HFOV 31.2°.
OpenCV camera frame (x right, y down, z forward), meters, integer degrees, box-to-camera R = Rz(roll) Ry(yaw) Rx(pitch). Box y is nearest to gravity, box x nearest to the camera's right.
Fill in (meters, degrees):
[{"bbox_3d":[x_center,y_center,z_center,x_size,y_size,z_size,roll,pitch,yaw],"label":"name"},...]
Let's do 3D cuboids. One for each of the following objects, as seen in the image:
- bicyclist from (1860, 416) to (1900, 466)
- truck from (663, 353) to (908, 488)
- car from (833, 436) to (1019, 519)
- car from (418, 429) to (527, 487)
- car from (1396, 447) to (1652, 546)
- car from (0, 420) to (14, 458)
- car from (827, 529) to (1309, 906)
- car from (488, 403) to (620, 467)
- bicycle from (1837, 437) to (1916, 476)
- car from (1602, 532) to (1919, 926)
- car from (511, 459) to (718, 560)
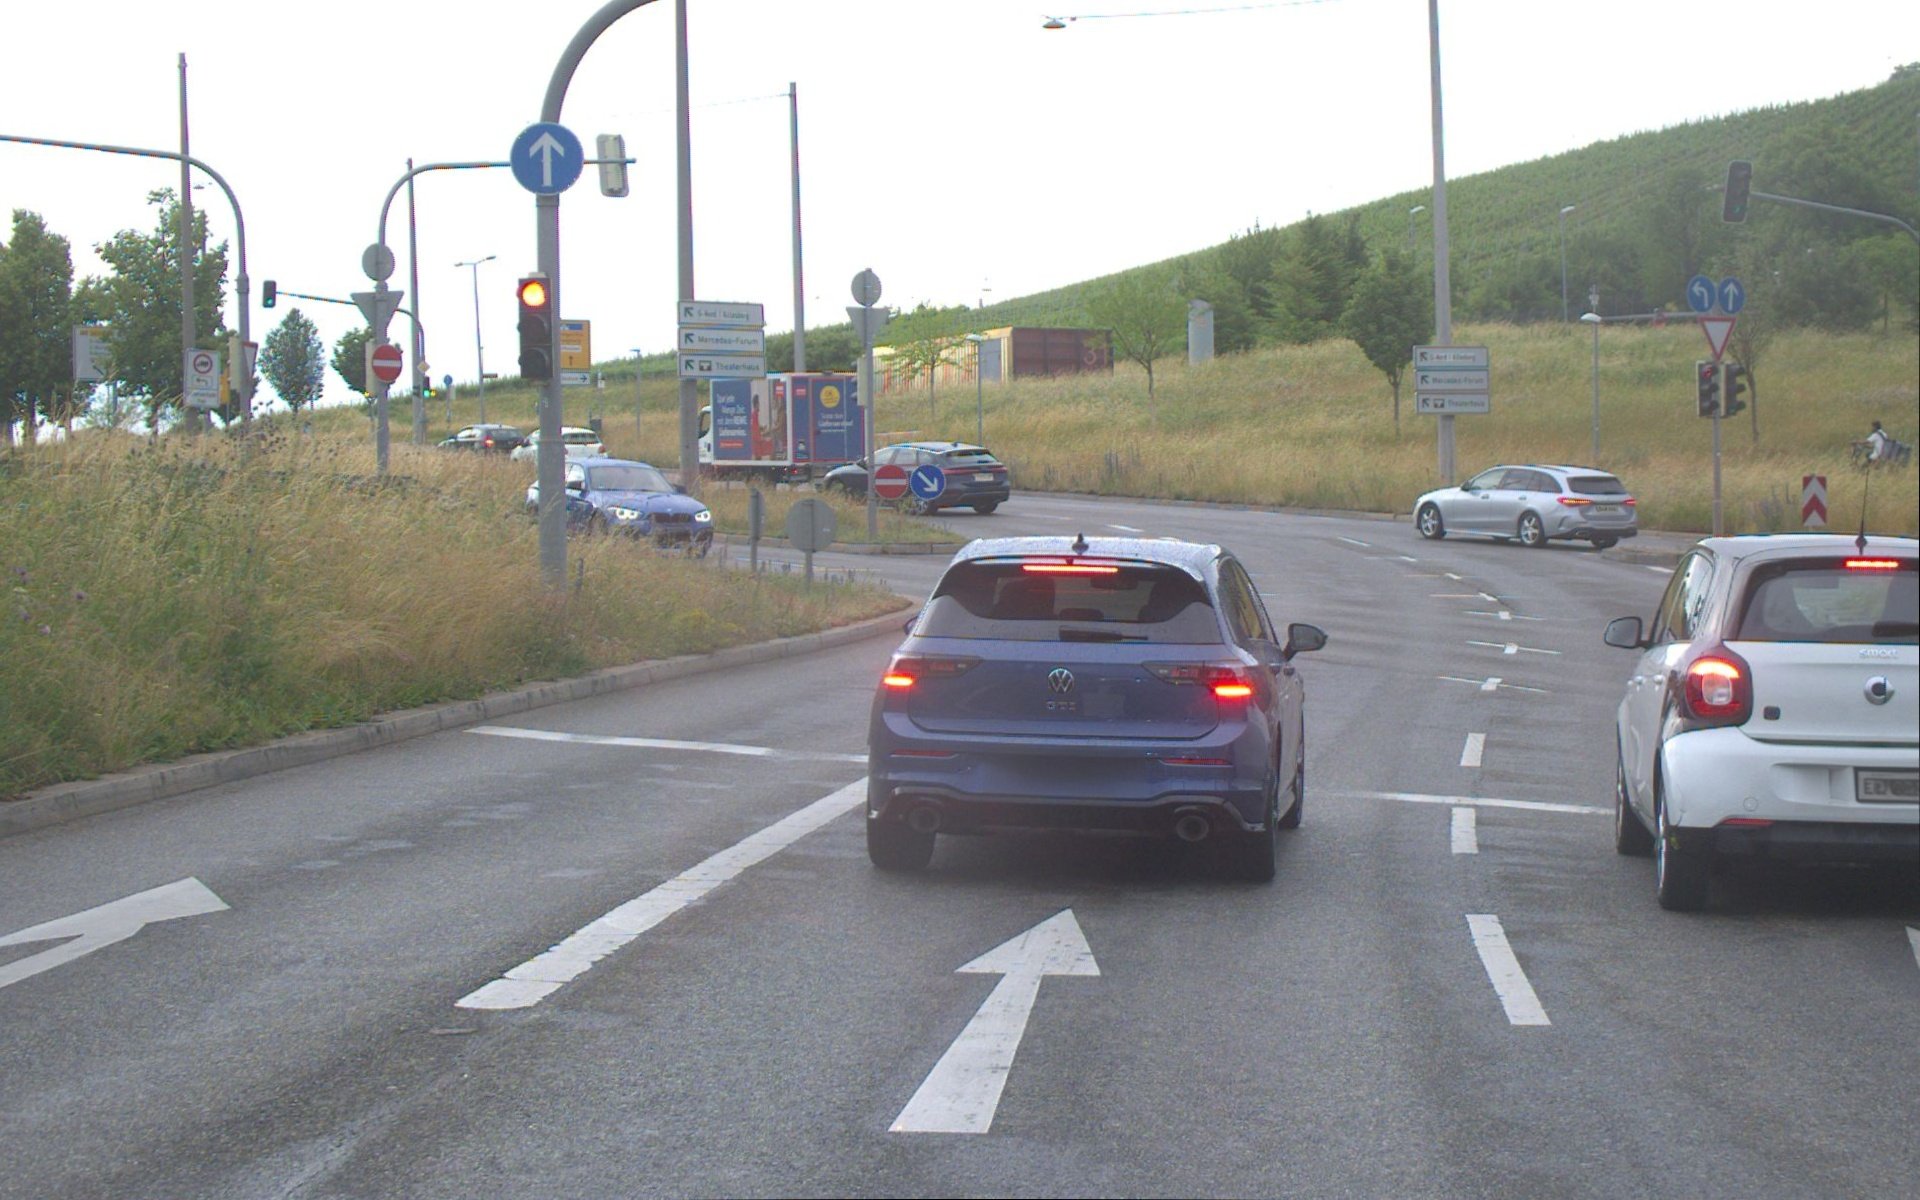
[{"bbox_3d":[19.740,-3.413,73.752,0.523,1.043,0.580,2,2,-38],"label":"bicyclist"},{"bbox_3d":[-4.392,-4.470,85.266,3.257,3.064,6.177,2,2,-33],"label":"truck"},{"bbox_3d":[-0.759,-2.588,73.274,1.993,1.654,4.353,0,1,-31],"label":"car"},{"bbox_3d":[-15.351,-4.442,108.127,1.993,1.654,4.545,1,1,-27],"label":"car"},{"bbox_3d":[9.991,-1.810,61.212,1.993,1.654,4.545,0,1,-31],"label":"car"},{"bbox_3d":[-45.942,-7.641,162.061,1.754,1.700,3.736,3,2,-27],"label":"car"},{"bbox_3d":[0.617,0.430,15.762,1.825,1.455,3.807,1,2,7],"label":"car"},{"bbox_3d":[-11.569,-4.674,97.723,1.993,1.654,4.545,0,1,-31],"label":"car"},{"bbox_3d":[19.669,-3.080,73.800,0.518,0.772,1.621,2,2,-38],"label":"bicycle"},{"bbox_3d":[3.730,0.484,14.934,1.658,1.498,3.450,1,1,8],"label":"car"},{"bbox_3d":[-5.346,-1.365,52.726,1.694,1.470,4.293,1,1,-27],"label":"car"}]
